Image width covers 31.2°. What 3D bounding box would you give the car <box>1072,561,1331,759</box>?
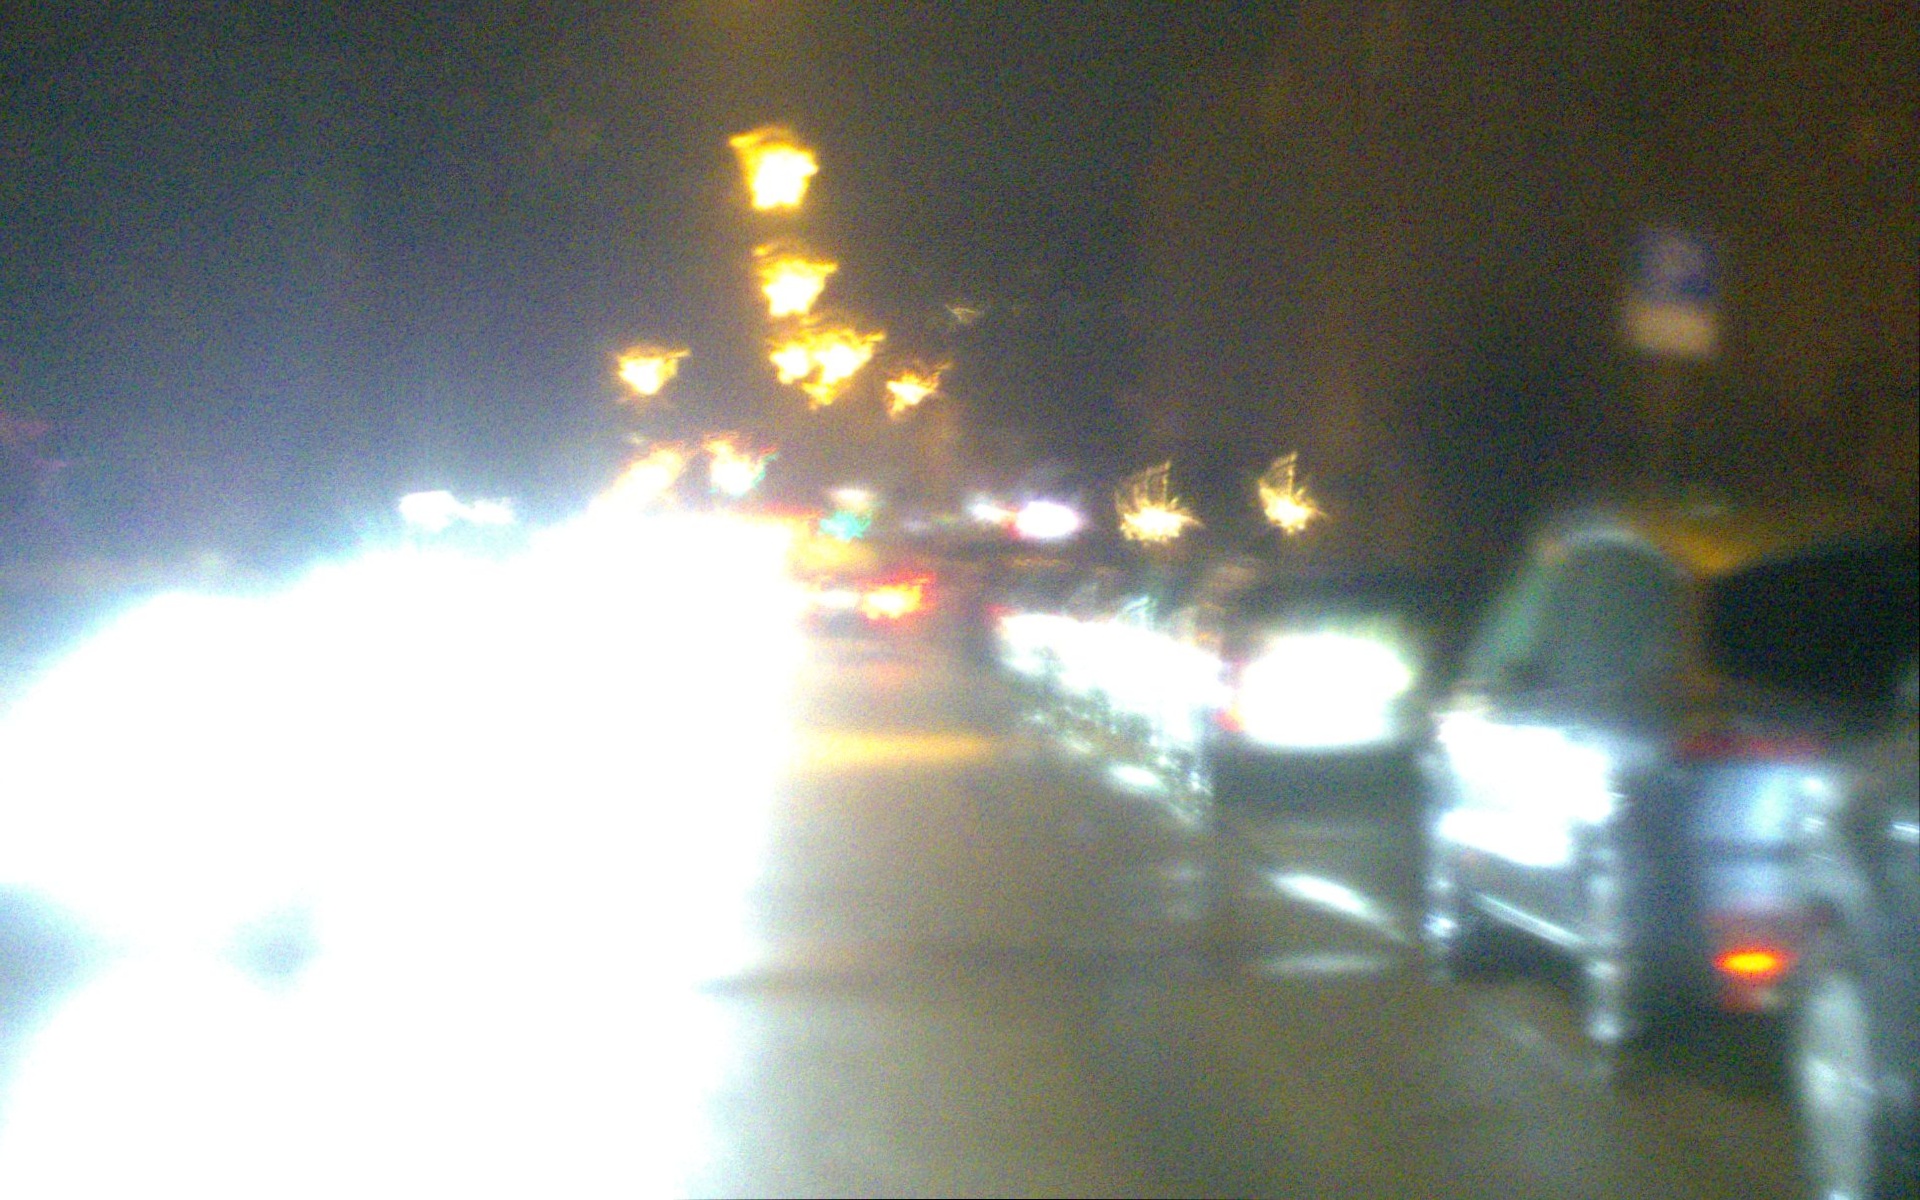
[{"bbox_3d":[1.882,0.429,27.793,1.603,1.383,3.793,-4,1,-2],"label":"car"}]

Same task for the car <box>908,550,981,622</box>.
[{"bbox_3d":[-0.385,-0.352,80.998,1.535,1.556,3.804,-3,1,-2],"label":"car"}]

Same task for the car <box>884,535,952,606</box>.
[{"bbox_3d":[-1.093,-0.769,87.495,1.535,1.704,3.804,-3,1,-2],"label":"car"}]

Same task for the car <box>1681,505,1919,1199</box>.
[{"bbox_3d":[2.862,0.581,6.215,1.881,1.567,4.528,-4,2,-3],"label":"car"}]

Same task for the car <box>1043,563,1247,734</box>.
[{"bbox_3d":[1.670,0.407,32.063,1.495,1.383,3.748,-3,1,-2],"label":"car"}]

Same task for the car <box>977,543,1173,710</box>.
[{"bbox_3d":[1.230,0.244,38.365,1.820,1.668,4.001,-3,1,-2],"label":"car"}]

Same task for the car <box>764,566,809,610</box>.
[{"bbox_3d":[-7.362,-0.511,146.153,1.812,1.704,3.804,-3,1,-2],"label":"car"}]

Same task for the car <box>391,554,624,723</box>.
[{"bbox_3d":[-4.226,0.311,32.704,1.857,1.456,4.524,0,1,-3],"label":"car"}]

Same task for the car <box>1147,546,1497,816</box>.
[{"bbox_3d":[2.220,0.433,22.159,1.628,1.461,4.510,-3,1,-1],"label":"car"}]

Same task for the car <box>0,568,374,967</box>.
[{"bbox_3d":[-3.695,0.586,14.685,1.675,1.430,4.512,0,1,-1],"label":"car"}]

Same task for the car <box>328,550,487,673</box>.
[{"bbox_3d":[-7.528,0.125,47.157,1.575,1.457,4.001,-6,1,-2],"label":"car"}]

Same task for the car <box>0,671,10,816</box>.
[{"bbox_3d":[-6.385,0.619,17.839,1.578,1.452,4.644,-4,1,-1],"label":"car"}]

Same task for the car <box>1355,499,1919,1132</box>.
[{"bbox_3d":[2.657,0.500,11.325,1.881,1.567,4.589,-4,2,-3],"label":"car"}]

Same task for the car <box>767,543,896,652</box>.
[{"bbox_3d":[-2.072,-0.070,56.257,1.993,1.678,4.000,-1,1,-1],"label":"car"}]

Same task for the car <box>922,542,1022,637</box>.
[{"bbox_3d":[0.183,-0.212,61.034,1.535,1.556,3.804,-3,1,-2],"label":"car"}]

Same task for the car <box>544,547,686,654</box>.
[{"bbox_3d":[-4.992,-0.033,50.233,1.820,1.458,4.866,0,1,-3],"label":"car"}]

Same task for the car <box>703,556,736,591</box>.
[{"bbox_3d":[-12.787,-1.417,183.067,1.535,1.704,3.804,-3,1,-2],"label":"car"}]
